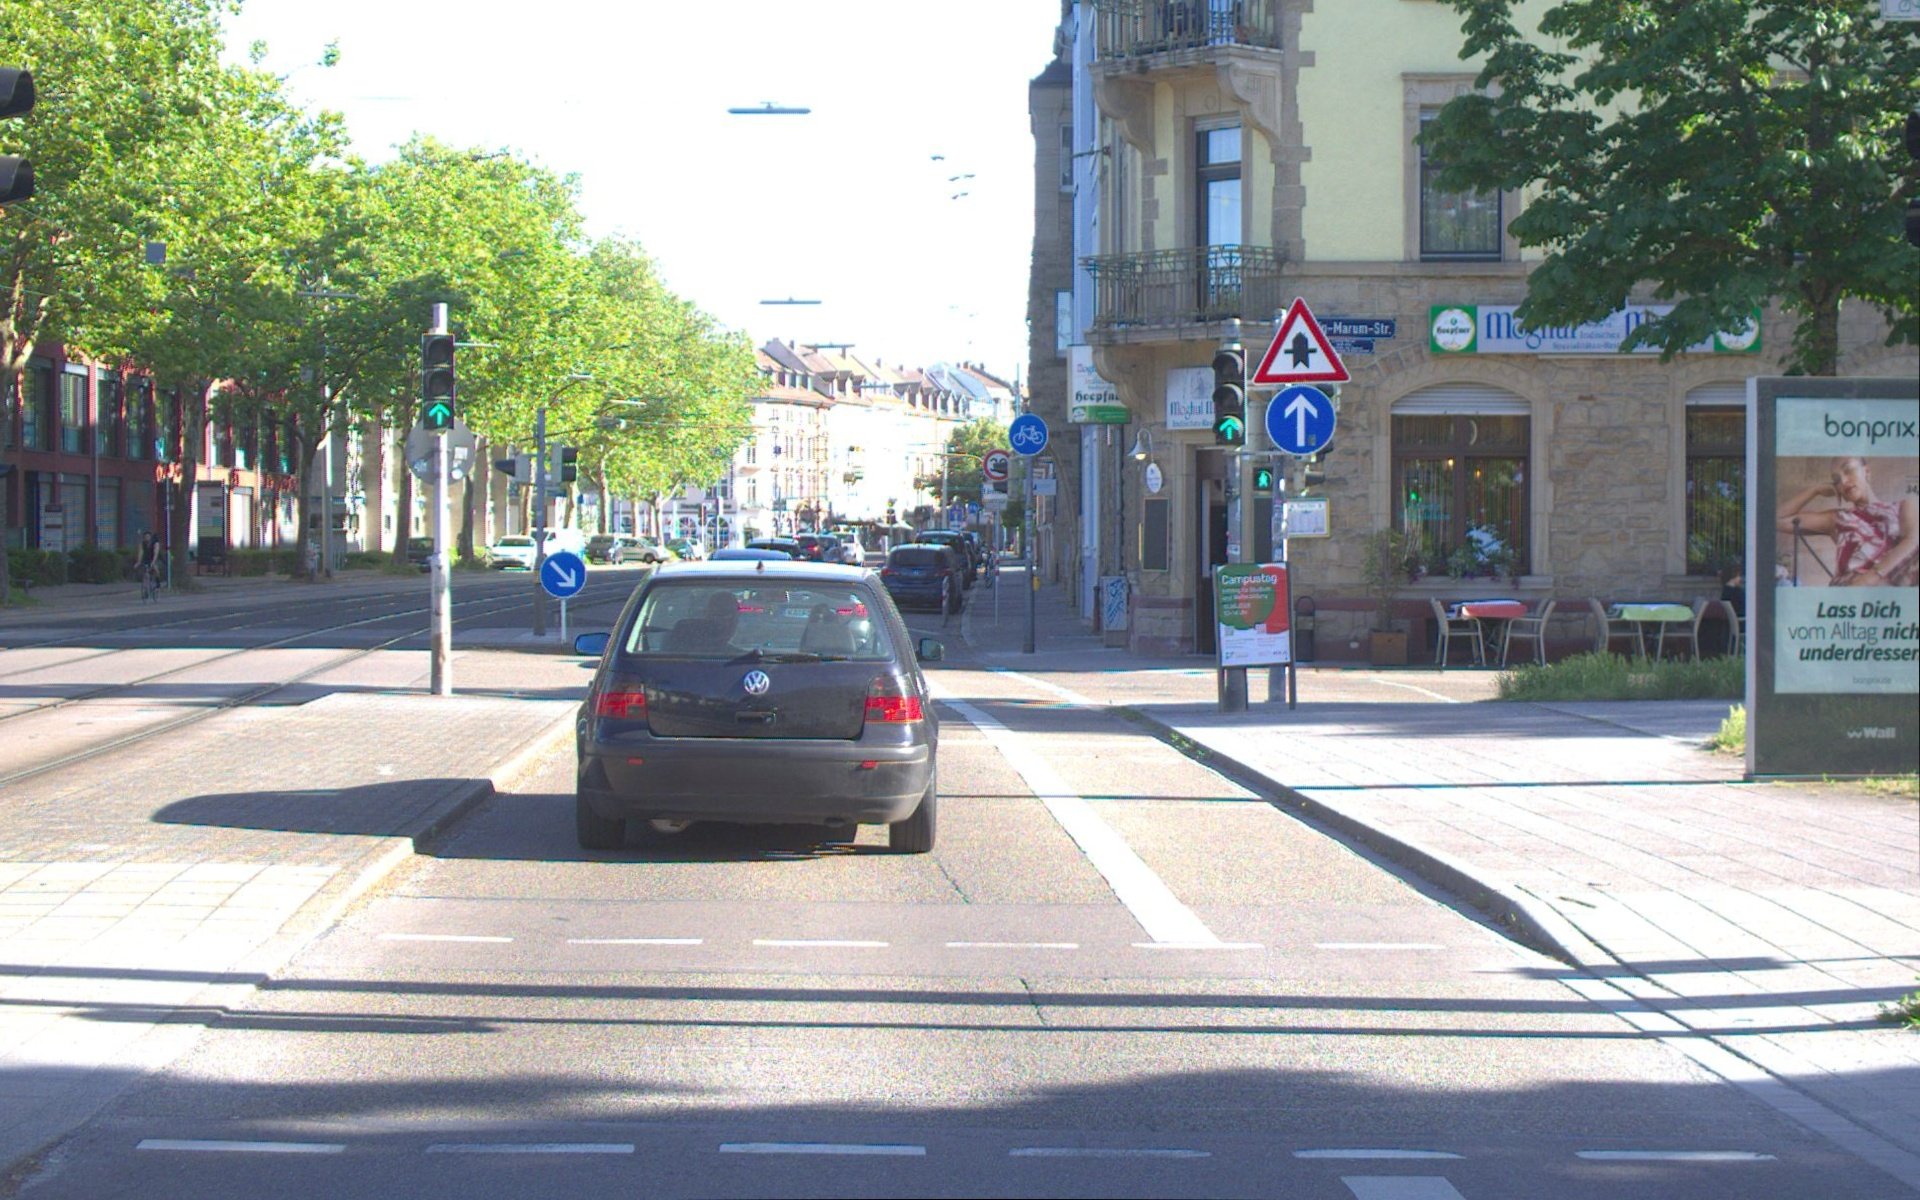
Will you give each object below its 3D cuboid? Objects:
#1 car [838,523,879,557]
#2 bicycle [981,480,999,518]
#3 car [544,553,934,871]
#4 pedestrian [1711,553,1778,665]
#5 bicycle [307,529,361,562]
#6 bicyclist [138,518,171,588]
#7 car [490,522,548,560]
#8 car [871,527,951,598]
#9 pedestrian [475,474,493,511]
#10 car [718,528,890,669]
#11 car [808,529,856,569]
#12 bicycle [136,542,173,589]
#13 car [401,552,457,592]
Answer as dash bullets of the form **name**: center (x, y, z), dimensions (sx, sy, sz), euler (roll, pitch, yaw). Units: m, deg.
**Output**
- **car**: center (-4.429, -2.639, 150.860), dimensions (1.636, 1.467, 3.729), euler (0, 1, 1)
- **bicycle**: center (0.912, -3.059, 104.306), dimensions (0.514, 1.136, 2.259), euler (-1, 2, 0)
- **car**: center (-1.016, 0.475, 17.447), dimensions (1.748, 1.370, 4.000), euler (0, 2, -1)
- **pedestrian**: center (9.818, 0.108, 43.048), dimensions (0.638, 1.355, 0.701), euler (2, 2, 2)
- **bicycle**: center (-24.863, -2.162, 136.517), dimensions (2.008, 1.274, 0.664), euler (2, 2, 1)
- **bicyclist**: center (-18.908, -1.115, 80.697), dimensions (0.644, 1.606, 0.781), euler (2, 2, -8)
- **car**: center (-19.788, -2.652, 154.258), dimensions (2.011, 1.567, 4.694), euler (2, 2, -1)
- **car**: center (-1.061, -0.844, 75.805), dimensions (1.655, 1.477, 4.000), euler (1, 1, 0)
- **pedestrian**: center (-24.239, -5.468, 175.090), dimensions (0.796, 1.814, 0.670), euler (2, 2, 1)
- **car**: center (-1.775, -0.053, 40.116), dimensions (1.748, 1.532, 3.892), euler (0, 2, 1)
- **car**: center (-4.858, -1.959, 130.952), dimensions (1.636, 1.467, 3.729), euler (0, 1, 1)
- **bicycle**: center (-18.911, -0.819, 80.715), dimensions (0.644, 1.039, 1.926), euler (2, 2, -8)
- **car**: center (-20.076, -1.055, 130.030), dimensions (1.507, 1.449, 3.463), euler (-1, -1, 1)
